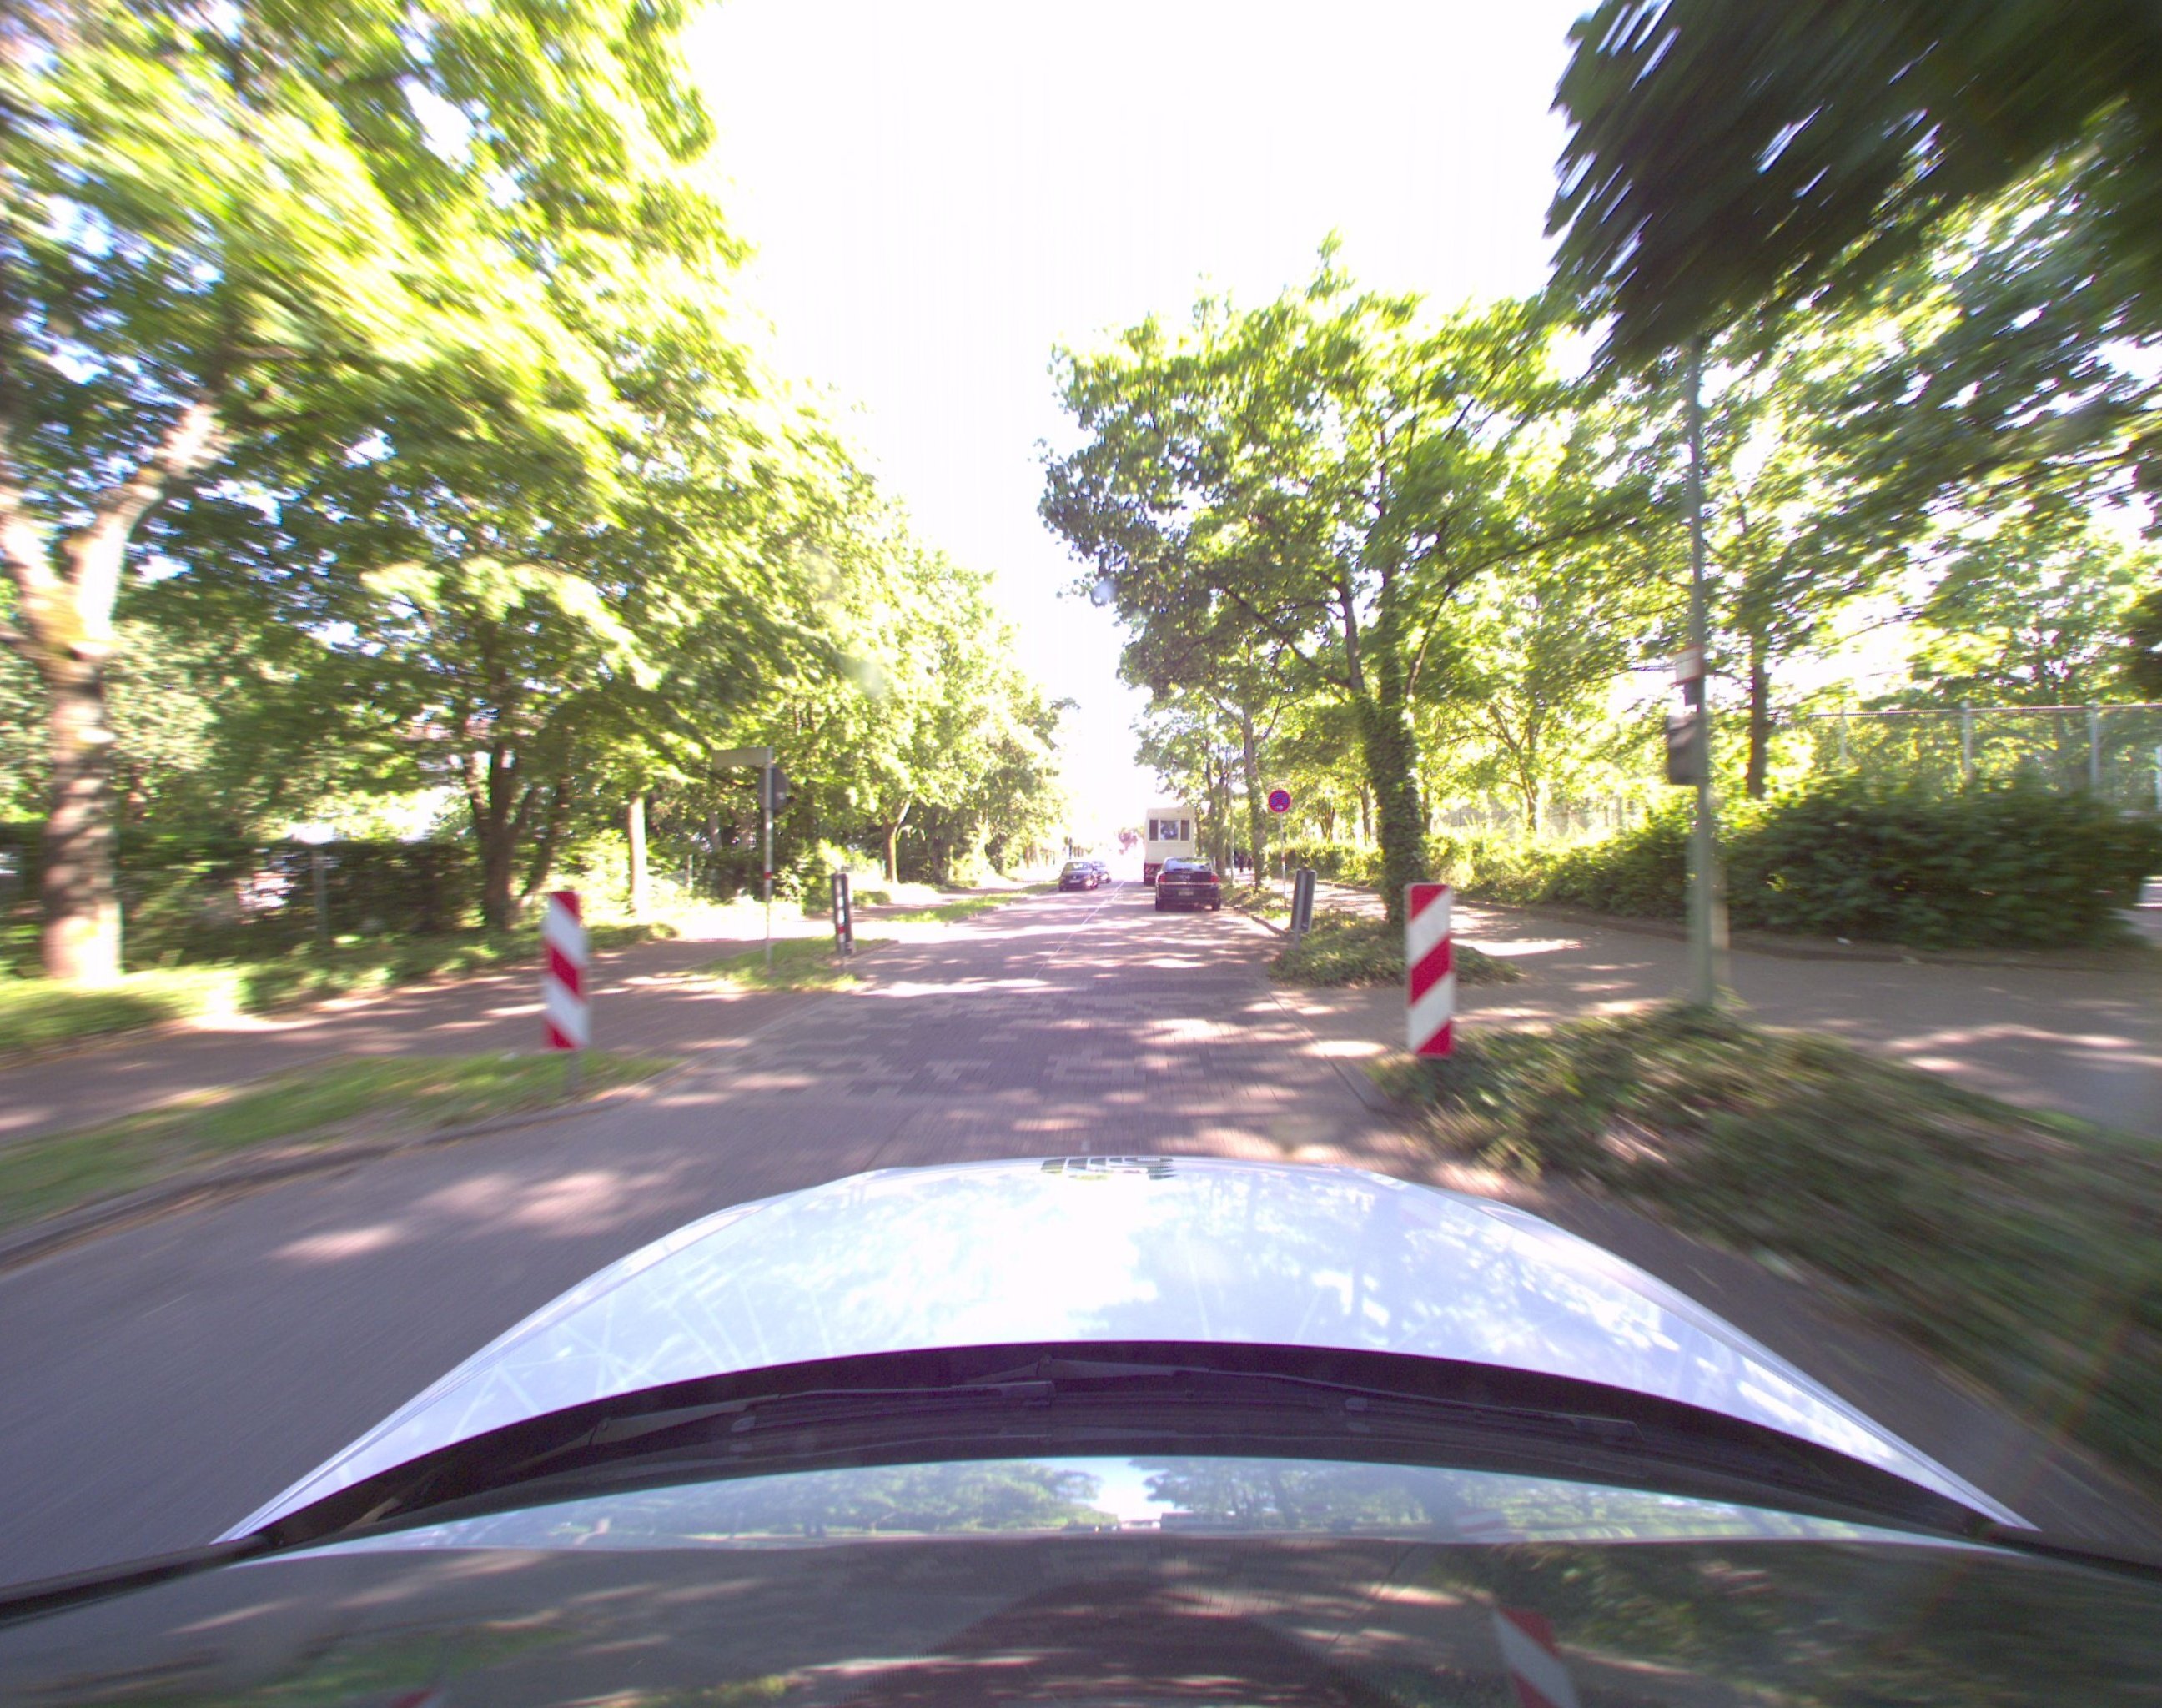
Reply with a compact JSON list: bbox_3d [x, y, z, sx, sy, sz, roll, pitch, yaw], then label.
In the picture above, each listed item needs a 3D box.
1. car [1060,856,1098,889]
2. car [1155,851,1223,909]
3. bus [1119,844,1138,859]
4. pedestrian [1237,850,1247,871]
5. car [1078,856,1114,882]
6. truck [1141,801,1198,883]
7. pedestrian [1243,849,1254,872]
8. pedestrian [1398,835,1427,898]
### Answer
[{"bbox_3d":[-0.065,0.857,39.278,1.594,1.426,3.654,-2,0,3],"label":"car"},{"bbox_3d":[2.997,0.680,22.919,1.739,1.480,4.037,0,-1,6],"label":"car"},{"bbox_3d":[11.752,-0.654,200.019,4.043,3.349,9.819,-2,0,7],"label":"bus"},{"bbox_3d":[12.662,0.530,63.992,0.596,1.611,0.600,-2,0,1],"label":"pedestrian"},{"bbox_3d":[0.956,0.872,49.981,1.746,1.454,4.250,-2,0,6],"label":"car"},{"bbox_3d":[4.701,-0.615,45.036,2.760,3.996,10.360,0,0,4],"label":"truck"},{"bbox_3d":[13.153,0.523,64.014,0.695,1.812,0.700,-2,0,1],"label":"pedestrian"},{"bbox_3d":[8.561,0.320,21.043,0.567,1.608,0.674,-1,0,14],"label":"pedestrian"}]
